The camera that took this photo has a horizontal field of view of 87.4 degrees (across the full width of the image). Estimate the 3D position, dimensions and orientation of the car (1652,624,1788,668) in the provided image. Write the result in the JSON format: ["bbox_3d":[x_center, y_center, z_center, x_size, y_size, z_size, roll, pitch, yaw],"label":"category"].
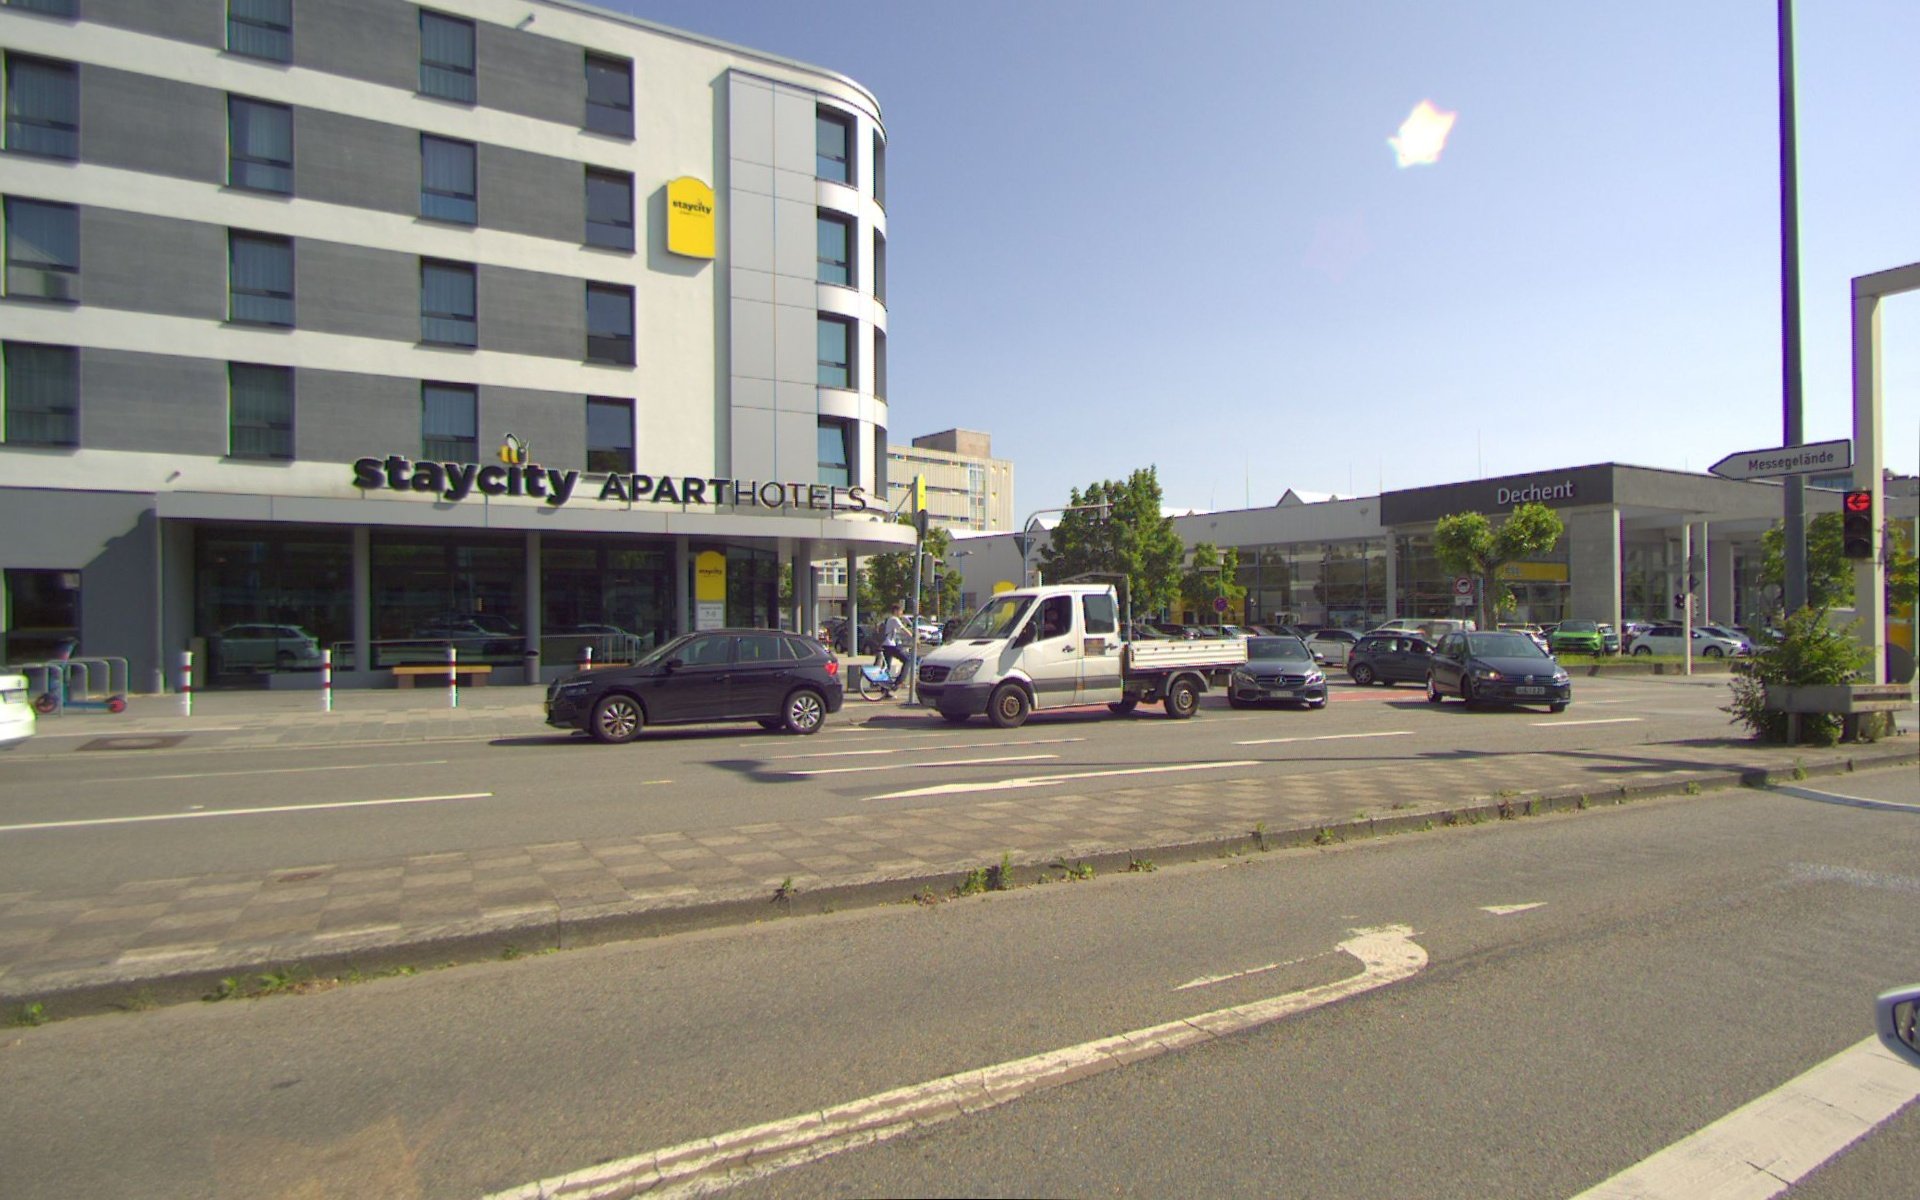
[{"bbox_3d":[32.815,1.959,43.481,1.978,1.789,4.274,1,-2,-32],"label":"car"}]

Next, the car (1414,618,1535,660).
[{"bbox_3d":[22.634,1.687,44.321,1.982,1.719,4.323,1,-2,-38],"label":"car"}]

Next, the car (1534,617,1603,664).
[{"bbox_3d":[24.000,1.611,39.722,1.870,1.756,3.293,0,-3,23],"label":"car"}]

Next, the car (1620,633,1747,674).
[{"bbox_3d":[30.423,2.209,42.349,1.981,1.620,3.959,1,-2,-36],"label":"car"}]

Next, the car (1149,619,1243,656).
[{"bbox_3d":[11.638,1.819,49.726,1.980,1.719,4.328,1,-2,-35],"label":"car"}]

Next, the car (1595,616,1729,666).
[{"bbox_3d":[27.322,1.569,39.209,1.978,1.862,3.849,1,-2,-32],"label":"car"}]

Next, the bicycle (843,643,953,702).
[{"bbox_3d":[-1.256,1.452,20.425,2.138,1.131,0.764,1,-2,-32],"label":"bicycle"}]

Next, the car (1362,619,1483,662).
[{"bbox_3d":[19.873,1.705,43.316,1.982,1.719,4.323,1,-2,-38],"label":"car"}]

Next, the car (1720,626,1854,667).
[{"bbox_3d":[37.446,2.080,45.598,1.978,1.719,4.333,2,-1,-32],"label":"car"}]

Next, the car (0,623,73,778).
[{"bbox_3d":[-11.486,0.981,9.516,4.370,1.505,1.980,2,-5,-36],"label":"car"}]

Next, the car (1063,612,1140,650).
[{"bbox_3d":[7.763,1.700,55.309,1.983,2.040,3.956,1,-2,-38],"label":"car"}]

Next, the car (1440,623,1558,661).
[{"bbox_3d":[24.559,1.874,45.884,1.982,1.612,4.325,1,-2,-37],"label":"car"}]

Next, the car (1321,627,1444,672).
[{"bbox_3d":[17.376,1.993,41.478,1.980,1.719,4.328,1,-2,-35],"label":"car"}]

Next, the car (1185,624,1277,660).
[{"bbox_3d":[13.804,2.124,51.443,1.980,1.719,4.328,1,-2,-35],"label":"car"}]

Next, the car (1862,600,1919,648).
[{"bbox_3d":[53.245,1.353,55.758,1.973,2.635,4.345,1,-1,-24],"label":"car"}]

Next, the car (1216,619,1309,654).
[{"bbox_3d":[15.820,1.886,52.698,1.982,1.719,4.324,1,-2,-37],"label":"car"}]

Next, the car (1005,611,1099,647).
[{"bbox_3d":[4.574,1.428,50.254,4.304,1.719,1.991,-1,-2,39],"label":"car"}]

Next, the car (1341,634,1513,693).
[{"bbox_3d":[13.029,1.723,28.225,1.982,1.461,3.958,1,-2,-37],"label":"car"}]

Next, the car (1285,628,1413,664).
[{"bbox_3d":[15.085,1.749,39.128,1.980,1.317,4.328,1,-2,-35],"label":"car"}]

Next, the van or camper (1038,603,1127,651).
[{"bbox_3d":[6.411,1.423,53.004,1.983,2.432,4.678,1,-2,-38],"label":"van or camper"}]

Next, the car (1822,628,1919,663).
[{"bbox_3d":[47.025,2.293,51.129,1.973,1.719,4.345,1,-2,-24],"label":"car"}]

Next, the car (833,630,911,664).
[{"bbox_3d":[-4.348,2.237,48.954,1.979,1.466,4.331,2,-1,-33],"label":"car"}]

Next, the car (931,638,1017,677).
[{"bbox_3d":[0.526,2.360,41.756,1.758,1.457,3.882,1,-2,-32],"label":"car"}]

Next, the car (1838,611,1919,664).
[{"bbox_3d":[49.095,1.937,52.396,2.096,2.720,4.490,1,-1,-21],"label":"car"}]

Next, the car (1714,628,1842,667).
[{"bbox_3d":[38.774,2.222,47.731,1.978,1.719,4.333,1,-2,-32],"label":"car"}]

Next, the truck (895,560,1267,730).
[{"bbox_3d":[2.224,0.781,17.757,6.355,2.578,2.348,1,-2,-28],"label":"truck"}]

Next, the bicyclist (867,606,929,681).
[{"bbox_3d":[-1.260,0.870,20.421,1.016,1.479,0.764,1,-1,-32],"label":"bicyclist"}]

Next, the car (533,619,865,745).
[{"bbox_3d":[-3.787,1.151,14.711,4.360,1.598,1.985,1,-5,-30],"label":"car"}]

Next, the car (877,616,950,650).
[{"bbox_3d":[-2.793,1.909,59.317,1.971,1.815,4.376,2,0,-42],"label":"car"}]

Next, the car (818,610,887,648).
[{"bbox_3d":[-6.815,1.795,63.415,1.985,2.158,4.565,2,0,-42],"label":"car"}]

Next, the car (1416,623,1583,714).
[{"bbox_3d":[10.806,1.301,20.467,1.853,1.639,4.137,0,-1,11],"label":"car"}]

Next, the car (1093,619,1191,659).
[{"bbox_3d":[8.299,1.758,46.103,1.980,1.719,4.328,1,-2,-35],"label":"car"}]

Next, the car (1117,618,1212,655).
[{"bbox_3d":[9.813,1.739,48.436,1.980,1.719,4.328,1,-2,-35],"label":"car"}]

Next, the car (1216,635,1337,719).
[{"bbox_3d":[6.580,1.543,21.300,1.866,1.378,4.002,3,1,10],"label":"car"}]

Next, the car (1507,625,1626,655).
[{"bbox_3d":[27.873,1.839,46.270,1.982,1.284,4.325,4,-4,-37],"label":"car"}]

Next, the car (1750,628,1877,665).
[{"bbox_3d":[41.638,2.223,49.097,1.978,1.719,4.333,1,-2,-32],"label":"car"}]
